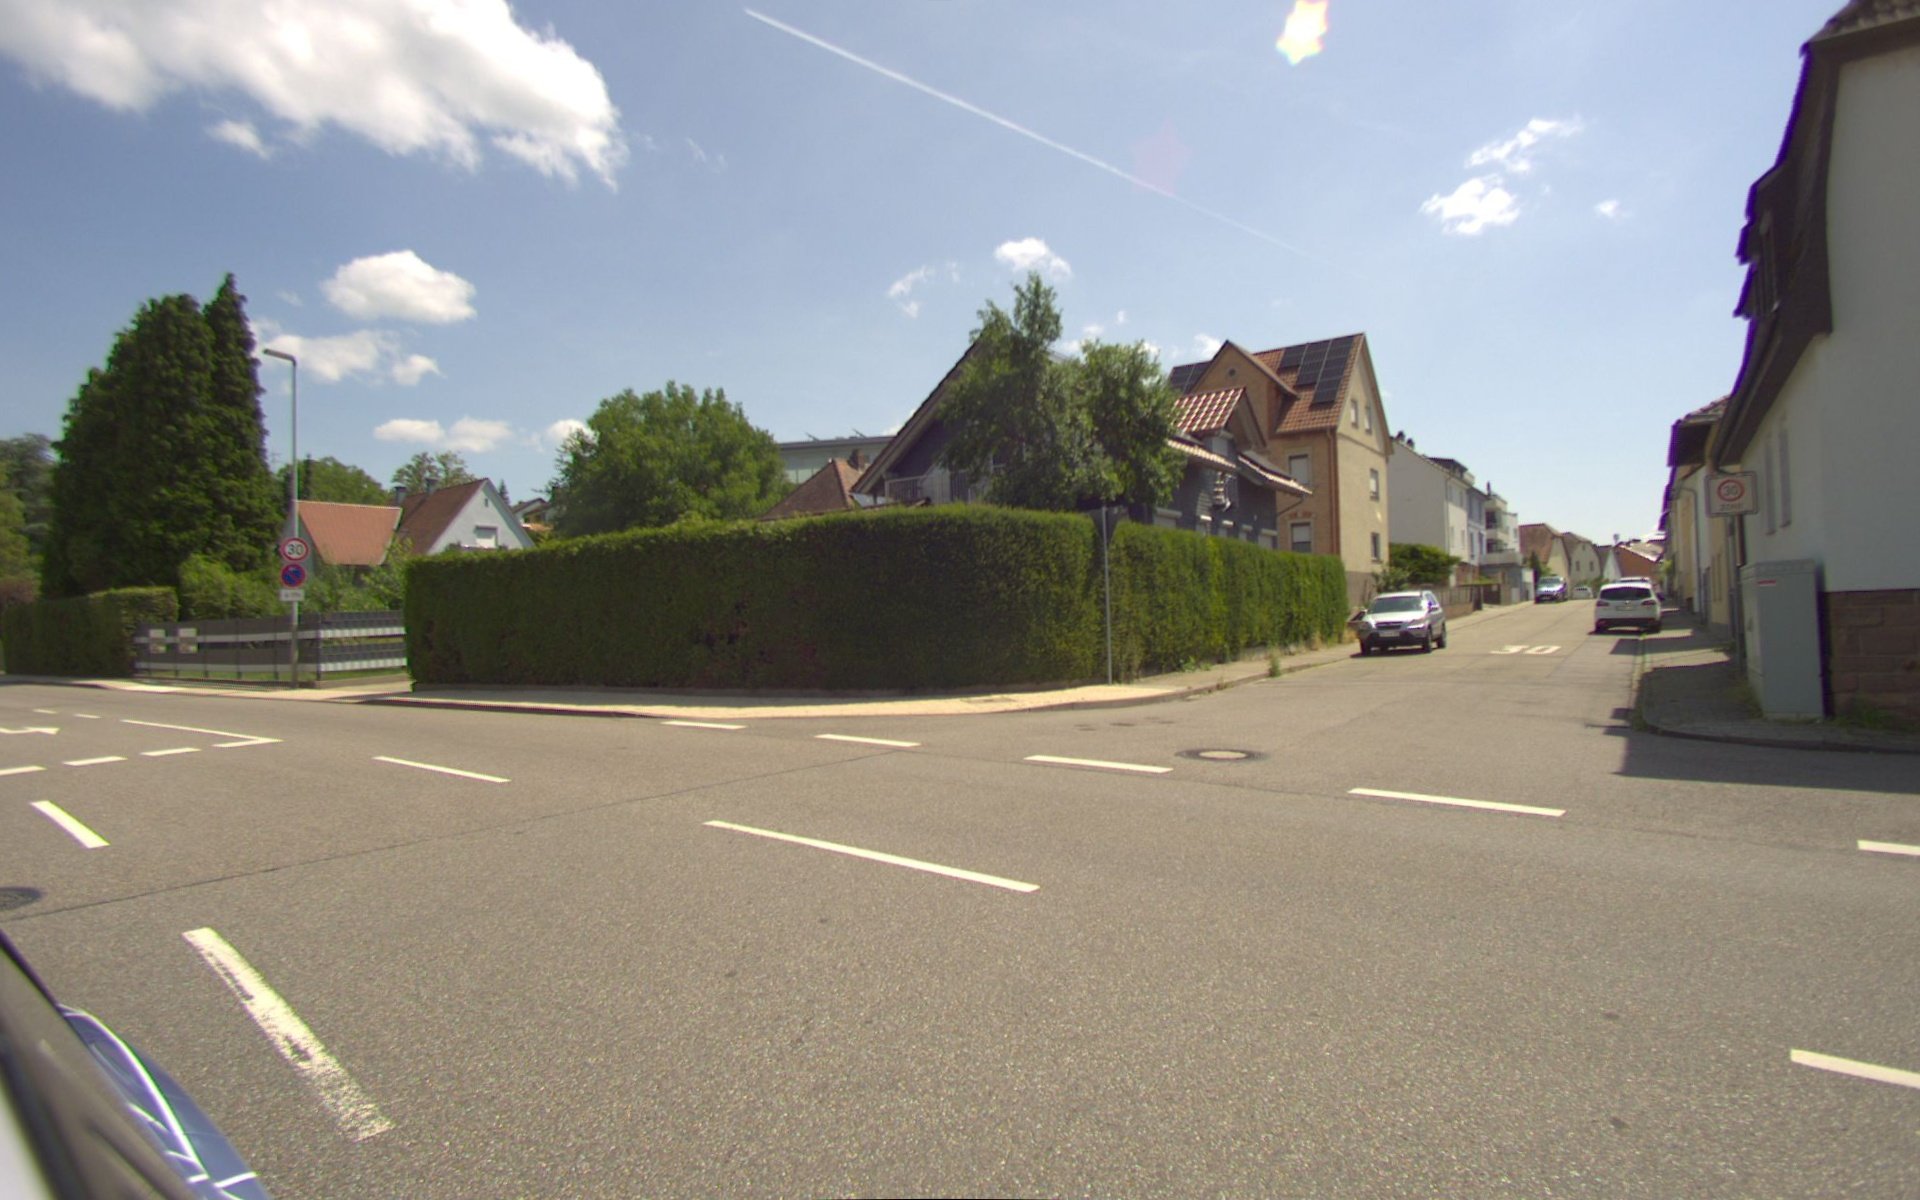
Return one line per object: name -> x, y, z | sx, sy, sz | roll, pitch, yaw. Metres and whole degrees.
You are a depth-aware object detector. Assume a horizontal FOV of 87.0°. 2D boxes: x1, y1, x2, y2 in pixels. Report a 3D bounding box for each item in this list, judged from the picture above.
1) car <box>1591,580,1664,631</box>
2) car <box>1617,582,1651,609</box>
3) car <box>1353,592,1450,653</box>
car -> 22.616, 0.169, 34.342 | 1.949, 1.608, 3.955 | -1, 0, 33
car -> 40.416, -0.277, 60.720 | 1.639, 1.582, 3.955 | -1, 0, 33
car -> 12.241, 0.590, 27.948 | 1.786, 1.478, 3.731 | -5, -2, 33
